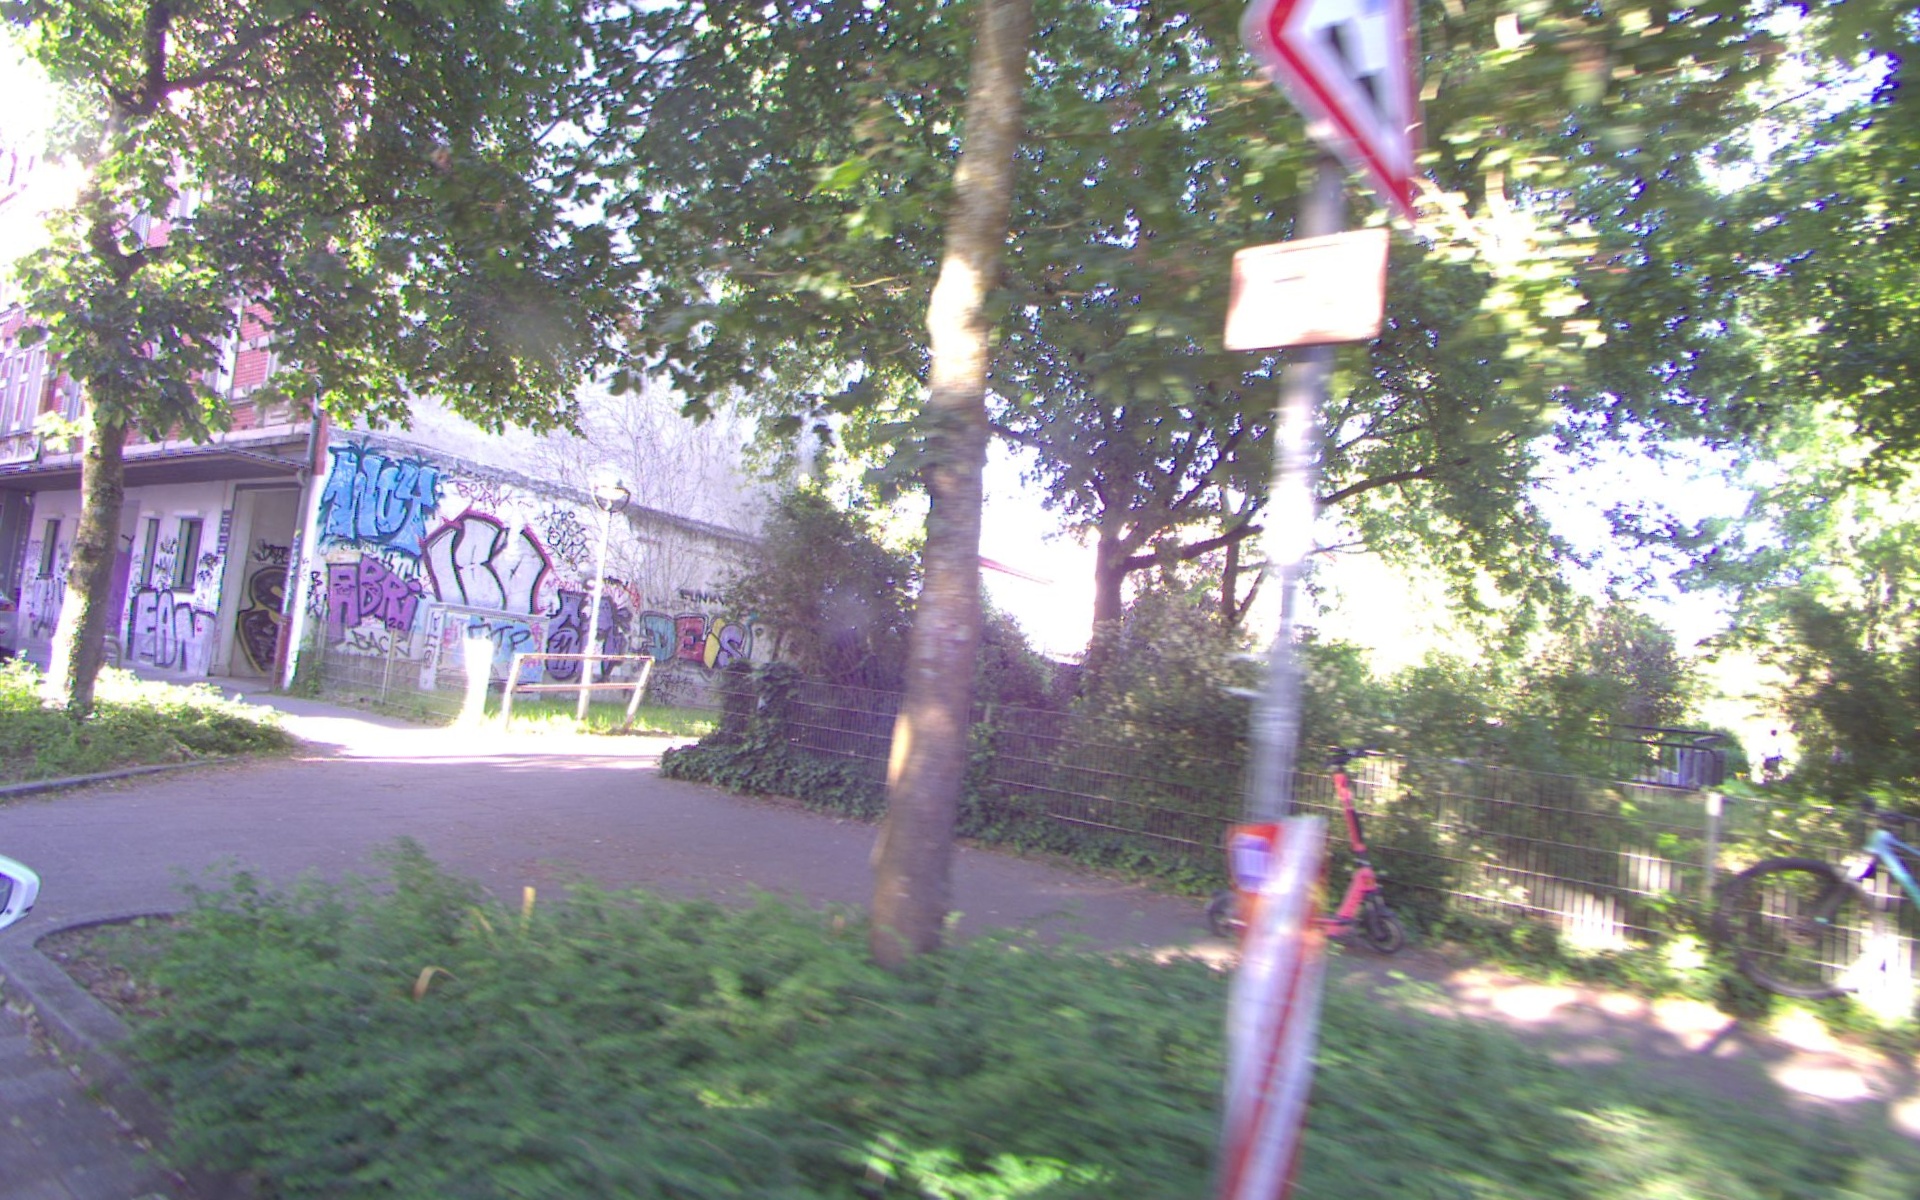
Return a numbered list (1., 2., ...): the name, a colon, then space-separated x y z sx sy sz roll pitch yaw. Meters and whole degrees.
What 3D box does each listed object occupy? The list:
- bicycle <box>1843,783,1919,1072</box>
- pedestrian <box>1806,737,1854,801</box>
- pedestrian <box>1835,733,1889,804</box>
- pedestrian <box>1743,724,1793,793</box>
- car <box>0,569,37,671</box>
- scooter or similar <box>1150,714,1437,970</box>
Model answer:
1. bicycle: 5.653 1.648 4.328 2.652 1.282 0.847 4 -4 37
2. pedestrian: 30.090 5.841 34.794 0.736 2.036 0.911 6 -3 -8
3. pedestrian: 27.779 5.175 30.992 0.736 2.036 0.911 6 -3 -8
4. pedestrian: 25.828 5.061 32.181 0.736 2.036 0.911 6 -3 -8
5. car: -17.216 0.151 16.663 4.329 1.578 1.725 3 -5 34
6. scooter or similar: 1.948 1.403 6.003 1.445 1.276 0.547 5 -2 4
